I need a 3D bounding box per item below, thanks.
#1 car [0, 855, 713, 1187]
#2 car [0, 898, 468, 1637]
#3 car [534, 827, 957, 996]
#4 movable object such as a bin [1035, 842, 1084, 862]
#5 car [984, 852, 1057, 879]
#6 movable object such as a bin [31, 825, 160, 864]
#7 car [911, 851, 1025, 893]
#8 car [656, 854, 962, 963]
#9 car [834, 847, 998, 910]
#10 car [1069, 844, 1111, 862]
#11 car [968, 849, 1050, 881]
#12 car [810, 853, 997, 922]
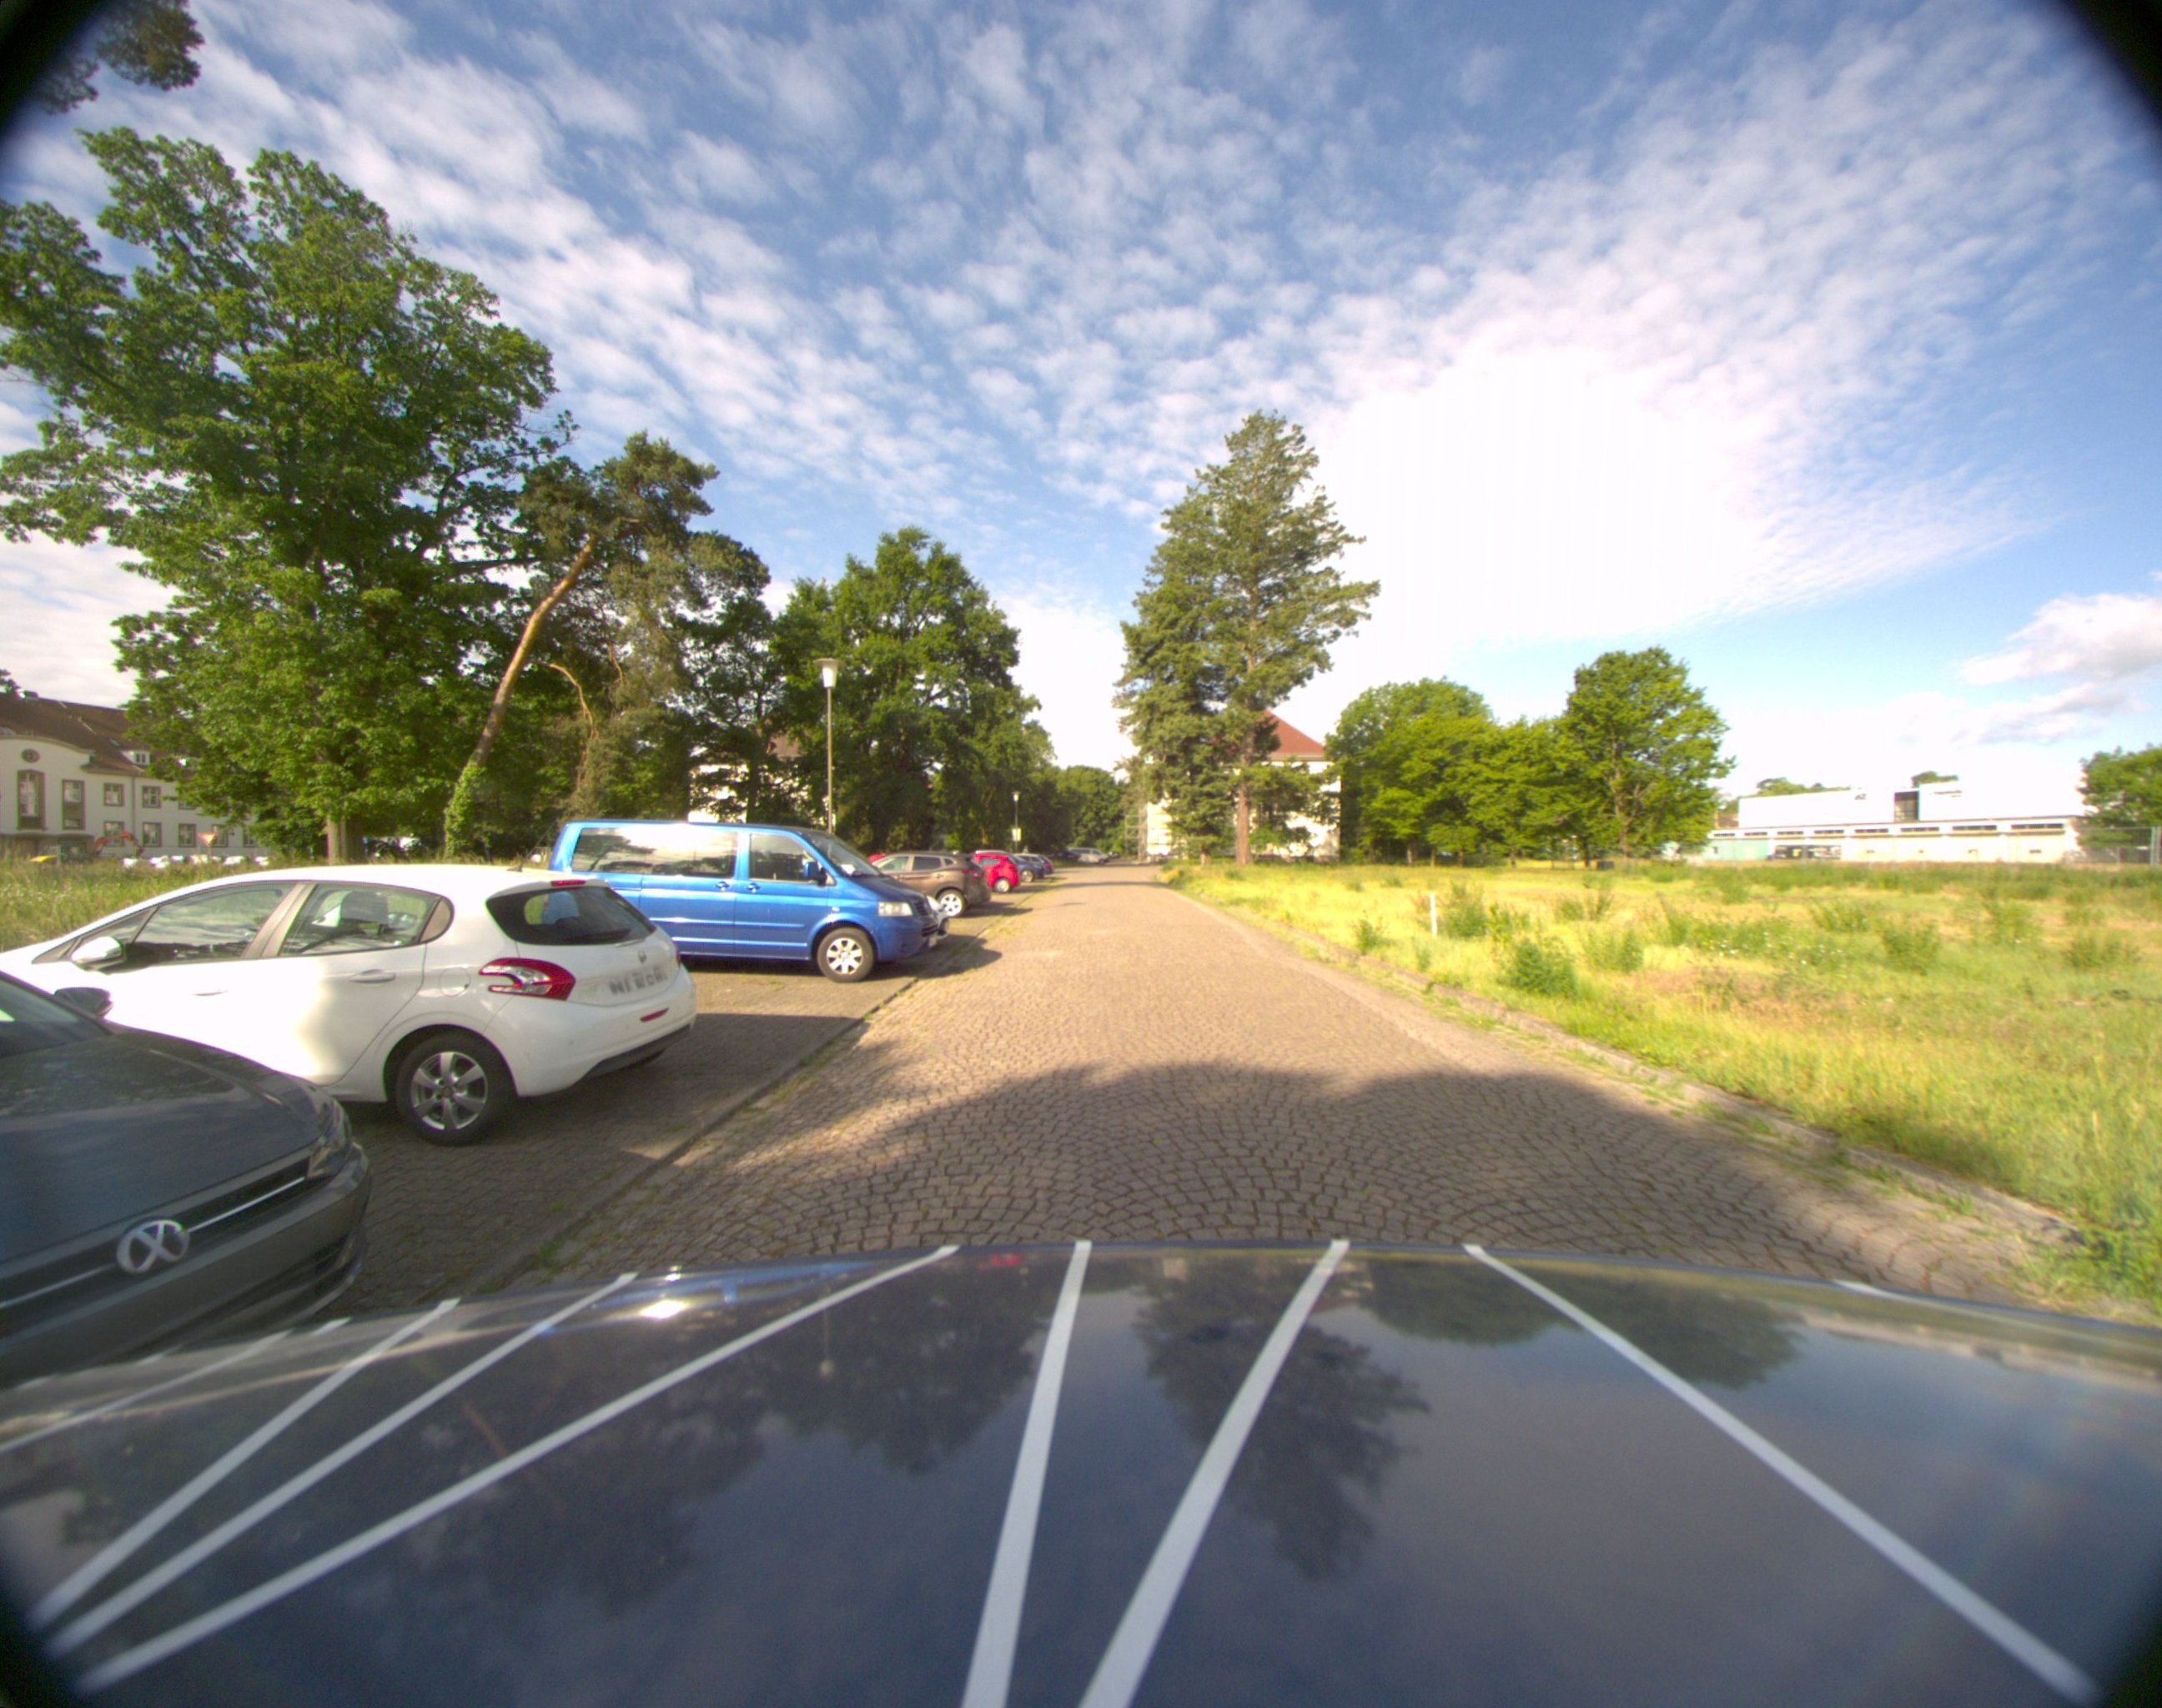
[{"bbox_3d":[-4.541,0.816,4.629,3.716,1.525,1.761,1,0,2],"label":"car"},{"bbox_3d":[-4.102,0.878,1.855,3.716,1.440,1.856,1,0,2],"label":"car"},{"bbox_3d":[-4.203,0.680,10.116,4.710,1.924,2.000,1,1,1],"label":"car"},{"bbox_3d":[-2.258,-0.214,80.074,4.865,2.002,2.002,-1,1,14],"label":"movable object such as a bin"},{"bbox_3d":[-3.480,0.651,44.266,4.097,1.415,1.784,2,0,0],"label":"car"},{"bbox_3d":[-87.911,-0.864,68.002,6.460,3.282,2.859,-3,2,-42],"label":"movable object such as a bin"},{"bbox_3d":[-4.276,0.679,29.313,4.097,1.451,1.853,2,0,0],"label":"car"},{"bbox_3d":[-4.375,0.843,12.740,4.408,1.568,1.939,1,1,1],"label":"car"},{"bbox_3d":[-4.595,0.663,21.674,4.237,1.589,1.934,2,1,-2],"label":"car"},{"bbox_3d":[1.094,-0.104,92.960,4.933,2.002,1.999,1,1,-5],"label":"car"},{"bbox_3d":[-3.695,0.568,39.583,4.097,1.548,1.853,2,0,0],"label":"car"},{"bbox_3d":[-4.301,0.789,18.950,4.237,1.589,1.934,0,1,-2],"label":"car"}]
